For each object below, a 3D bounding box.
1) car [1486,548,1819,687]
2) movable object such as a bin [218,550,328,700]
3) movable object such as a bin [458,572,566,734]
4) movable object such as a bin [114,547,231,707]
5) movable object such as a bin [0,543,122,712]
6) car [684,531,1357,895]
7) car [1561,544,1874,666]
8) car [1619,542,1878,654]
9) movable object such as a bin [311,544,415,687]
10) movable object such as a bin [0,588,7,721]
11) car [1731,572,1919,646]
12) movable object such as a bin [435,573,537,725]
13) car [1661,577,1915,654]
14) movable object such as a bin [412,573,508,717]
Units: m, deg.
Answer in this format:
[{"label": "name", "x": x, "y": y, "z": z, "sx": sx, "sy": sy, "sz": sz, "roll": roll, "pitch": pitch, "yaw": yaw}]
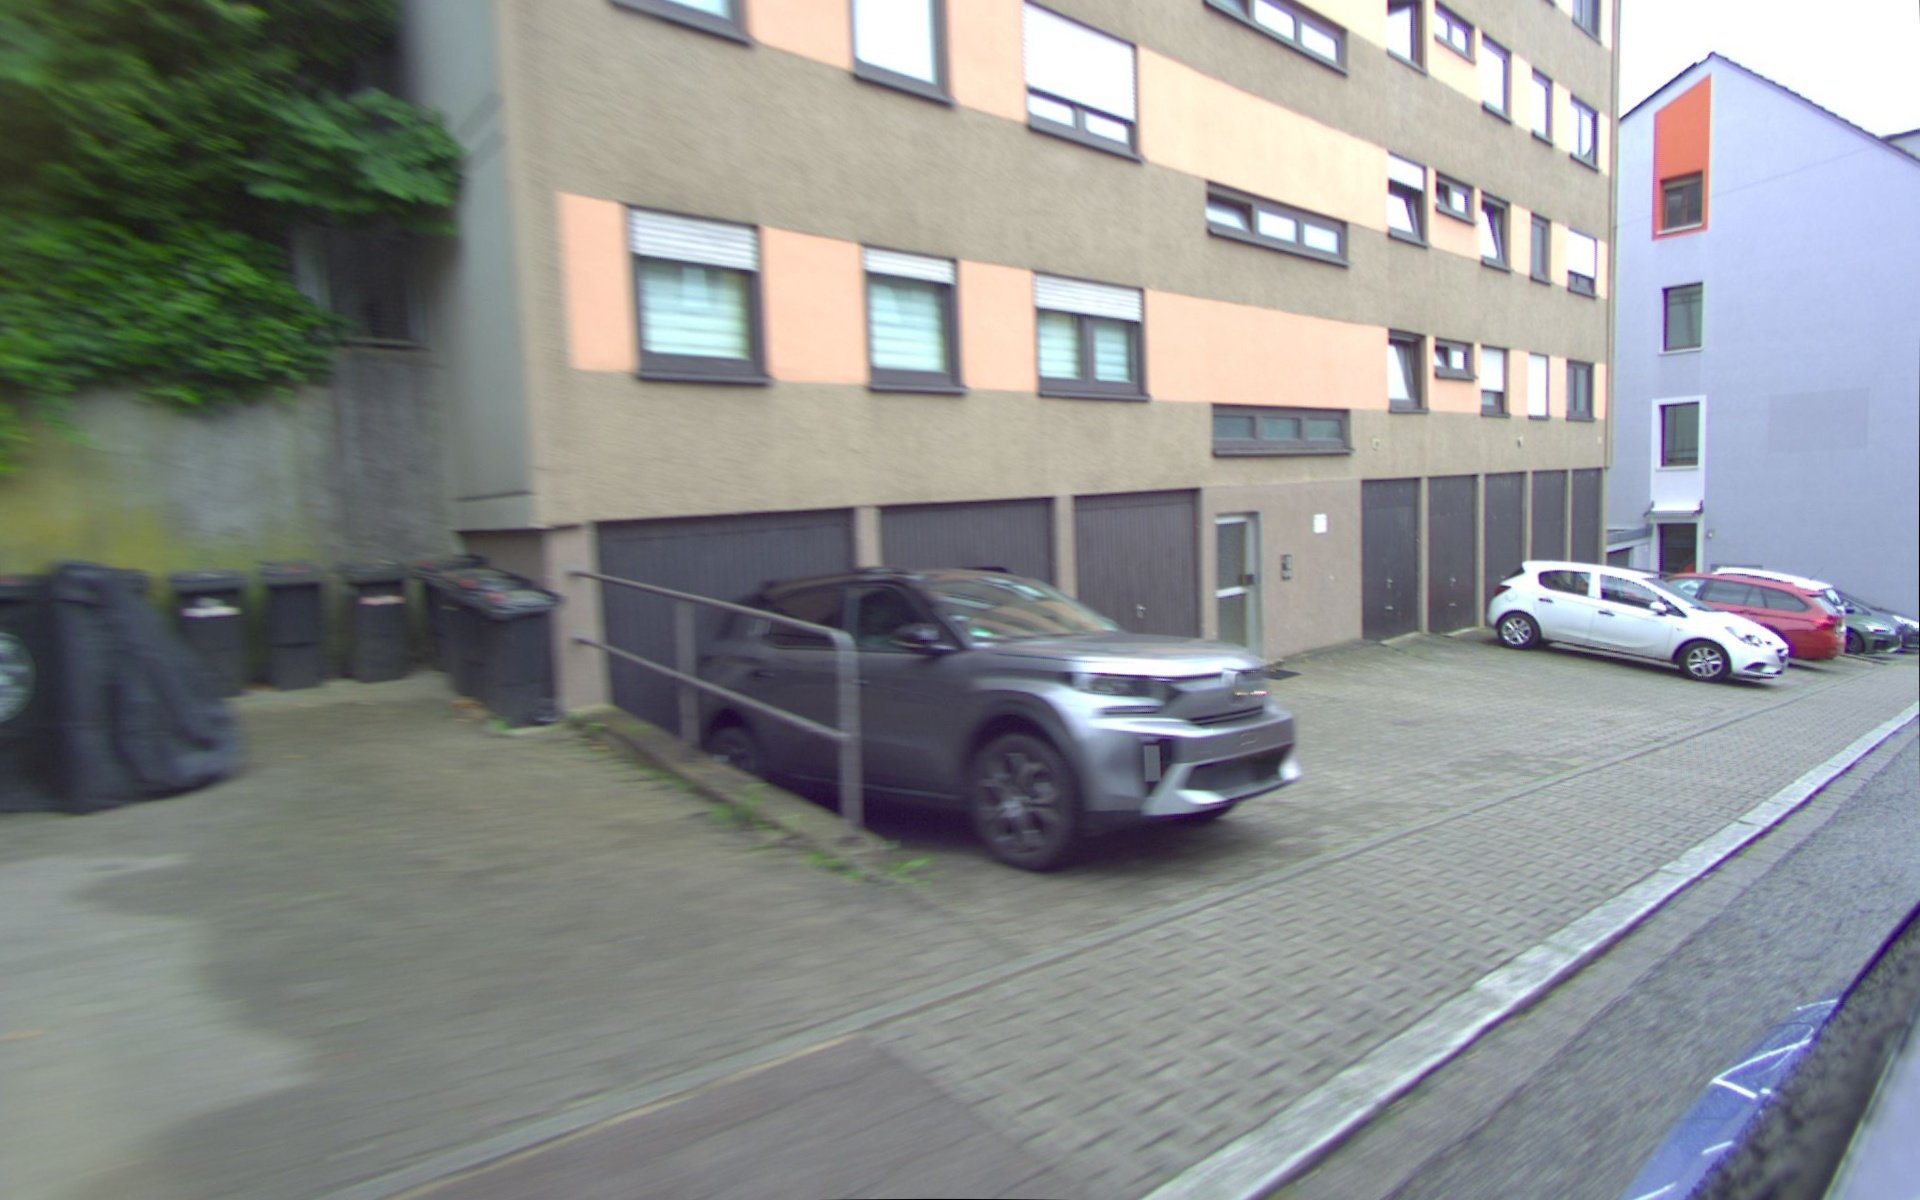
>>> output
[{"label": "car", "x": 10.749, "y": 0.157, "z": 15.926, "sx": 1.665, "sy": 1.547, "sz": 3.968, "roll": -1, "pitch": 8, "yaw": -44}, {"label": "movable object such as a bin", "x": -5.190, "y": 0.167, "z": 7.646, "sx": 0.593, "sy": 1.074, "sz": 0.508, "roll": -3, "pitch": 2, "yaw": -41}, {"label": "movable object such as a bin", "x": -3.183, "y": 0.348, "z": 7.188, "sx": 0.501, "sy": 1.074, "sz": 0.602, "roll": -3, "pitch": 2, "yaw": -44}, {"label": "movable object such as a bin", "x": -5.637, "y": 0.170, "z": 7.247, "sx": 0.593, "sy": 1.074, "sz": 0.508, "roll": -3, "pitch": 2, "yaw": -41}, {"label": "movable object such as a bin", "x": -6.084, "y": 0.164, "z": 6.846, "sx": 0.593, "sy": 1.074, "sz": 0.508, "roll": -3, "pitch": 2, "yaw": -41}, {"label": "car", "x": 0.061, "y": 0.480, "z": 6.361, "sx": 1.730, "sy": 1.515, "sz": 4.202, "roll": -1, "pitch": 0, "yaw": -43}, {"label": "car", "x": 14.212, "y": -0.007, "z": 19.210, "sx": 1.844, "sy": 1.546, "sz": 4.355, "roll": 0, "pitch": 9, "yaw": -42}, {"label": "car", "x": 16.173, "y": -0.119, "z": 20.903, "sx": 1.699, "sy": 1.721, "sz": 3.837, "roll": 0, "pitch": 8, "yaw": -42}, {"label": "movable object such as a bin", "x": -4.750, "y": 0.102, "z": 8.048, "sx": 0.593, "sy": 1.074, "sz": 0.508, "roll": -3, "pitch": 2, "yaw": -41}, {"label": "movable object such as a bin", "x": -6.526, "y": 0.246, "z": 6.450, "sx": 0.593, "sy": 1.074, "sz": 0.508, "roll": -3, "pitch": 2, "yaw": -41}, {"label": "car", "x": 21.625, "y": 0.172, "z": 25.034, "sx": 1.632, "sy": 1.569, "sz": 3.809, "roll": 0, "pitch": 3, "yaw": -42}, {"label": "movable object such as a bin", "x": -3.565, "y": 0.341, "z": 7.612, "sx": 0.501, "sy": 1.074, "sz": 0.602, "roll": -3, "pitch": 2, "yaw": -44}, {"label": "car", "x": 18.919, "y": 0.277, "z": 23.261, "sx": 1.862, "sy": 1.484, "sz": 4.275, "roll": 0, "pitch": 3, "yaw": -42}, {"label": "movable object such as a bin", "x": -3.996, "y": 0.335, "z": 8.081, "sx": 0.501, "sy": 1.074, "sz": 0.602, "roll": -3, "pitch": 2, "yaw": -44}]
